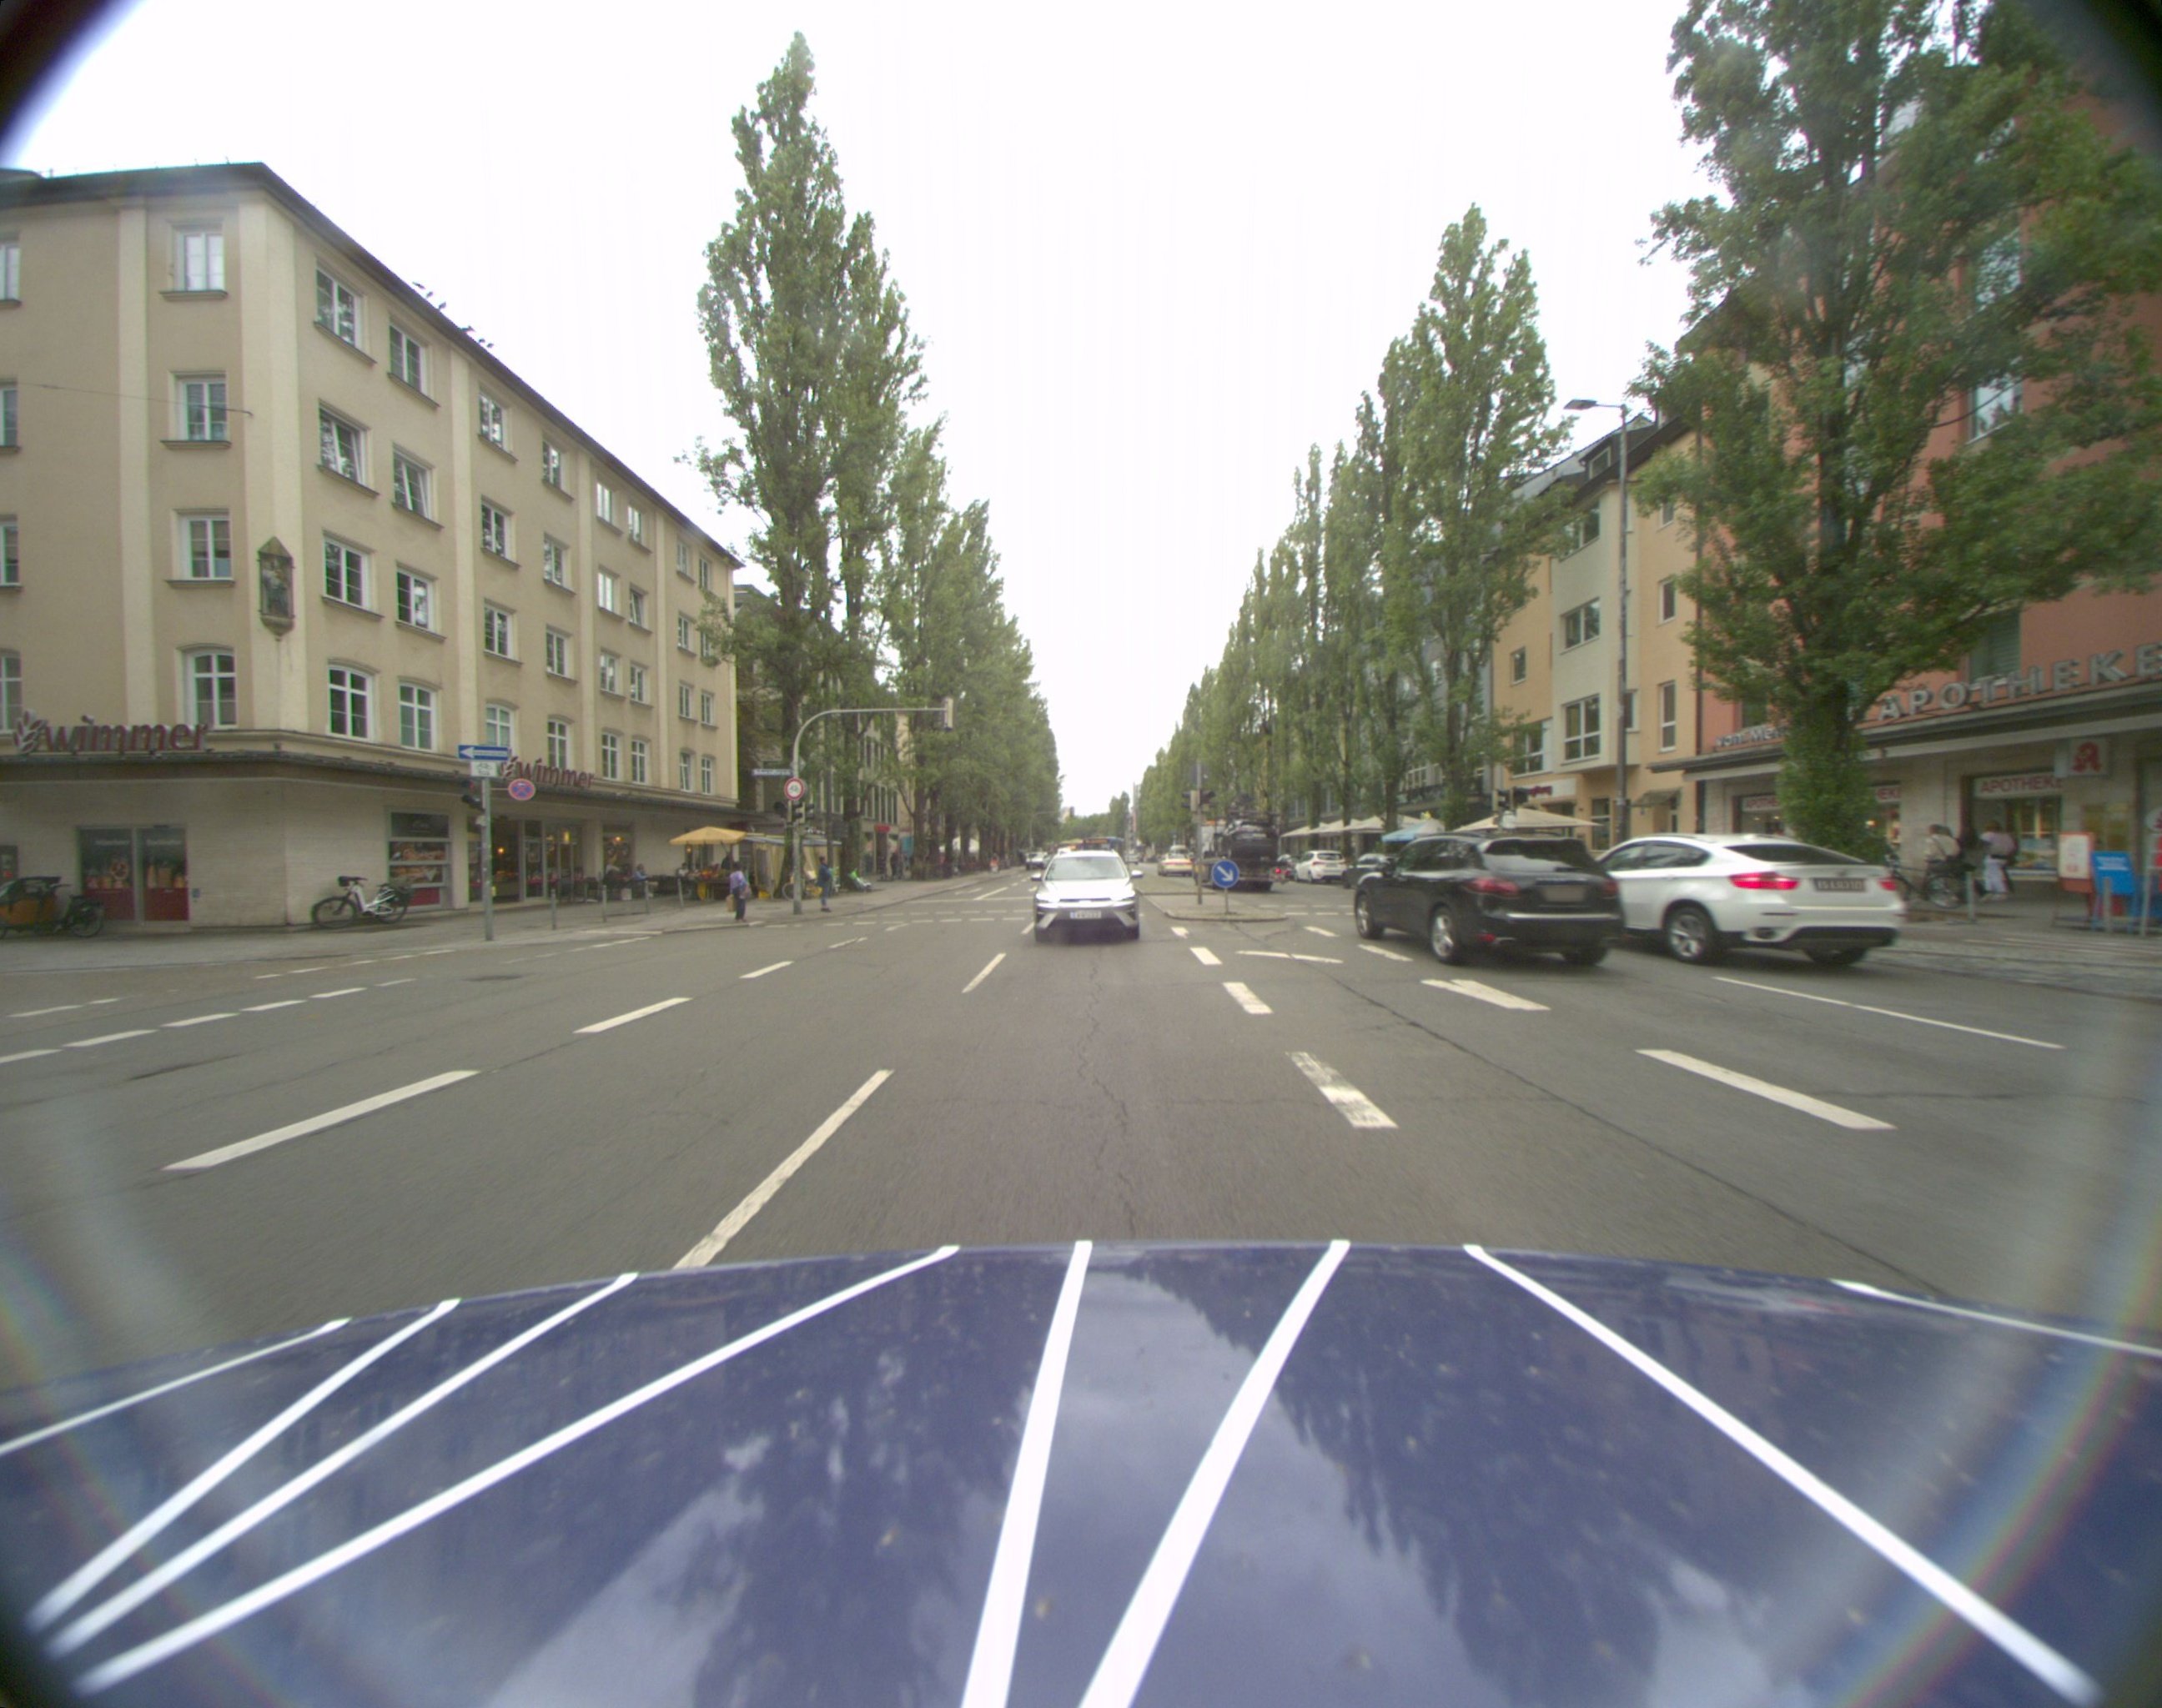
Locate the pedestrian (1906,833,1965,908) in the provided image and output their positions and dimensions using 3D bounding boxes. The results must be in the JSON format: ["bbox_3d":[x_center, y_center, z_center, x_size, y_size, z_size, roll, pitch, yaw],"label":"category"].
[{"bbox_3d":[18.307,0.351,16.290,0.658,1.574,0.548,-1,1,2],"label":"pedestrian"}]

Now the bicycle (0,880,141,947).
[{"bbox_3d":[-21.763,1.240,15.851,2.978,1.245,0.999,-2,1,0],"label":"bicycle"}]

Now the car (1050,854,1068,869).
[{"bbox_3d":[-2.290,0.765,81.279,1.758,1.529,3.916,-2,0,0],"label":"car"}]

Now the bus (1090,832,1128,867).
[{"bbox_3d":[2.787,-0.407,71.015,2.805,2.886,12.862,-1,0,5],"label":"bus"}]

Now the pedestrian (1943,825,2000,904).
[{"bbox_3d":[19.462,0.233,16.616,0.631,1.679,0.519,-2,1,2],"label":"pedestrian"}]

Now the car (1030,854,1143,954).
[{"bbox_3d":[0.098,0.795,13.969,1.758,1.529,3.916,-1,0,0],"label":"car"}]

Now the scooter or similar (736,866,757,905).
[{"bbox_3d":[-10.996,1.017,24.973,0.408,1.236,1.370,-1,1,-15],"label":"scooter or similar"}]

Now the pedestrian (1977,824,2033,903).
[{"bbox_3d":[20.188,0.203,16.606,0.588,1.681,0.514,-1,1,1],"label":"pedestrian"}]

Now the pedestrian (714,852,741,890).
[{"bbox_3d":[-15.031,0.721,32.321,0.777,1.580,0.699,-1,1,1],"label":"pedestrian"}]

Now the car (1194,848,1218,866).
[{"bbox_3d":[12.471,0.314,76.016,1.622,1.677,3.770,1,1,-2],"label":"car"}]

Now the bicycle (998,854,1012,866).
[{"bbox_3d":[-8.861,0.672,88.701,0.829,1.403,2.594,-2,0,-25],"label":"bicycle"}]

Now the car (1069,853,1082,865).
[{"bbox_3d":[-0.642,0.579,92.793,1.476,1.389,3.483,-1,0,1],"label":"car"}]

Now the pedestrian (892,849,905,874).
[{"bbox_3d":[-13.554,0.538,56.419,0.658,1.840,0.906,-1,1,3],"label":"pedestrian"}]

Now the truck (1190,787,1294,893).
[{"bbox_3d":[6.182,-0.544,30.554,2.469,3.649,8.438,-1,1,1],"label":"truck"}]

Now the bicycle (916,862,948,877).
[{"bbox_3d":[-9.779,1.044,49.947,2.005,0.939,0.286,-1,1,-7],"label":"bicycle"}]

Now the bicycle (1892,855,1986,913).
[{"bbox_3d":[17.631,0.597,15.653,0.422,1.135,1.373,-1,1,2],"label":"bicycle"}]

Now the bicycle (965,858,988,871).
[{"bbox_3d":[-9.277,0.957,67.550,1.902,1.120,0.686,-1,0,1],"label":"bicycle"}]

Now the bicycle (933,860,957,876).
[{"bbox_3d":[-9.666,1.018,53.984,1.679,1.111,0.286,-1,1,-11],"label":"bicycle"}]

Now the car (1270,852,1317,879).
[{"bbox_3d":[11.855,0.607,42.631,1.497,1.373,4.186,0,1,1],"label":"car"}]

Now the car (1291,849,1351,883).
[{"bbox_3d":[11.708,0.541,37.331,1.707,1.574,4.095,0,1,1],"label":"car"}]

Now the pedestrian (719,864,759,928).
[{"bbox_3d":[-8.480,1.026,18.836,0.767,1.509,0.620,2,4,45],"label":"pedestrian"}]

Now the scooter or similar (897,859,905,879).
[{"bbox_3d":[-11.907,0.971,50.241,0.248,1.266,1.036,-1,1,1],"label":"scooter or similar"}]

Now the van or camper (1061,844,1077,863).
[{"bbox_3d":[-1.660,-0.063,107.724,1.998,2.471,6.641,-2,2,1],"label":"van or camper"}]

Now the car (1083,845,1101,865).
[{"bbox_3d":[1.365,0.134,91.305,2.024,2.235,4.411,-2,0,1],"label":"car"}]

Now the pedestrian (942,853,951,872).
[{"bbox_3d":[-12.200,0.766,69.005,0.566,1.732,0.697,-2,1,4],"label":"pedestrian"}]

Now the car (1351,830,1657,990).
[{"bbox_3d":[5.451,0.605,10.597,1.889,1.736,4.439,-1,0,1],"label":"car"}]

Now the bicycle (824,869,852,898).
[{"bbox_3d":[-9.320,1.110,29.143,0.510,1.042,1.770,-1,0,-1],"label":"bicycle"}]

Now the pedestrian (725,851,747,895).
[{"bbox_3d":[-13.030,0.705,28.705,0.541,1.664,0.537,0,1,8],"label":"pedestrian"}]

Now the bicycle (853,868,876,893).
[{"bbox_3d":[-9.355,1.137,32.887,0.510,0.970,1.770,-1,0,-1],"label":"bicycle"}]

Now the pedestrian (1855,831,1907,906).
[{"bbox_3d":[18.077,0.317,17.171,0.508,1.661,0.626,-2,1,2],"label":"pedestrian"}]

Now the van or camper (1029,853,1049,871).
[{"bbox_3d":[-4.568,0.879,83.761,1.795,1.894,4.566,-1,0,1],"label":"van or camper"}]

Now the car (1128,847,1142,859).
[{"bbox_3d":[7.954,-0.136,111.608,1.848,1.626,4.575,1,0,1],"label":"car"}]

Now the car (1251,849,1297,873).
[{"bbox_3d":[12.079,0.422,47.795,1.707,1.404,4.432,0,1,-1],"label":"car"}]

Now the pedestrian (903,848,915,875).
[{"bbox_3d":[-12.801,0.572,56.551,0.658,1.959,0.722,0,0,3],"label":"pedestrian"}]

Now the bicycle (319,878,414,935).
[{"bbox_3d":[-16.487,1.178,17.587,0.435,1.164,1.811,-2,1,-1],"label":"bicycle"}]

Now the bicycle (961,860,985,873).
[{"bbox_3d":[-8.570,0.967,60.343,1.842,1.003,0.393,0,1,10],"label":"bicycle"}]

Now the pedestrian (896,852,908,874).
[{"bbox_3d":[-14.691,0.729,62.519,0.754,1.843,0.821,-2,1,-1],"label":"pedestrian"}]

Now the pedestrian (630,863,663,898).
[{"bbox_3d":[-16.324,0.985,28.558,0.777,1.257,0.699,-1,1,1],"label":"pedestrian"}]

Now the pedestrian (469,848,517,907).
[{"bbox_3d":[-17.744,0.696,22.940,0.666,1.693,0.860,-1,3,2],"label":"pedestrian"}]

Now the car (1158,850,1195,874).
[{"bbox_3d":[6.185,0.468,49.742,1.848,1.493,4.985,0,0,1],"label":"car"}]

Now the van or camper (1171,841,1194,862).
[{"bbox_3d":[12.871,-0.280,96.744,2.131,2.535,6.644,-1,0,1],"label":"van or camper"}]

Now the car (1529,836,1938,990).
[{"bbox_3d":[8.596,0.642,10.741,1.841,1.706,4.635,0,1,1],"label":"car"}]

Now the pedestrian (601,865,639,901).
[{"bbox_3d":[-16.308,1.009,26.901,0.870,1.192,0.699,3,1,1],"label":"pedestrian"}]

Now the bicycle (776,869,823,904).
[{"bbox_3d":[-9.746,1.102,26.357,0.405,1.064,1.813,-6,0,17],"label":"bicycle"}]

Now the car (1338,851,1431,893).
[{"bbox_3d":[11.655,0.635,29.558,1.707,1.430,4.589,0,1,-1],"label":"car"}]

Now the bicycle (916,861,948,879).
[{"bbox_3d":[-9.720,1.045,49.596,2.005,1.077,0.286,-1,1,-9],"label":"bicycle"}]

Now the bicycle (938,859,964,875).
[{"bbox_3d":[-9.486,0.949,55.484,1.871,1.129,0.339,-1,1,-8],"label":"bicycle"}]

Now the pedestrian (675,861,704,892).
[{"bbox_3d":[-16.278,0.943,31.604,0.777,1.257,0.699,-1,1,1],"label":"pedestrian"}]

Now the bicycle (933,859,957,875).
[{"bbox_3d":[-9.729,0.950,54.404,1.666,1.100,0.396,-1,1,-11],"label":"bicycle"}]

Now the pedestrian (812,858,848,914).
[{"bbox_3d":[-7.318,0.916,22.146,0.767,1.600,0.864,-1,1,-3],"label":"pedestrian"}]

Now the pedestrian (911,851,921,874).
[{"bbox_3d":[-12.932,0.673,59.547,0.658,1.774,0.674,-1,1,2],"label":"pedestrian"}]

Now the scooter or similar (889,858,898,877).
[{"bbox_3d":[-12.397,0.879,50.259,0.331,1.266,1.036,-1,1,1],"label":"scooter or similar"}]

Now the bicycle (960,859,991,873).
[{"bbox_3d":[-9.213,1.051,66.254,2.577,1.208,0.965,-1,1,1],"label":"bicycle"}]
